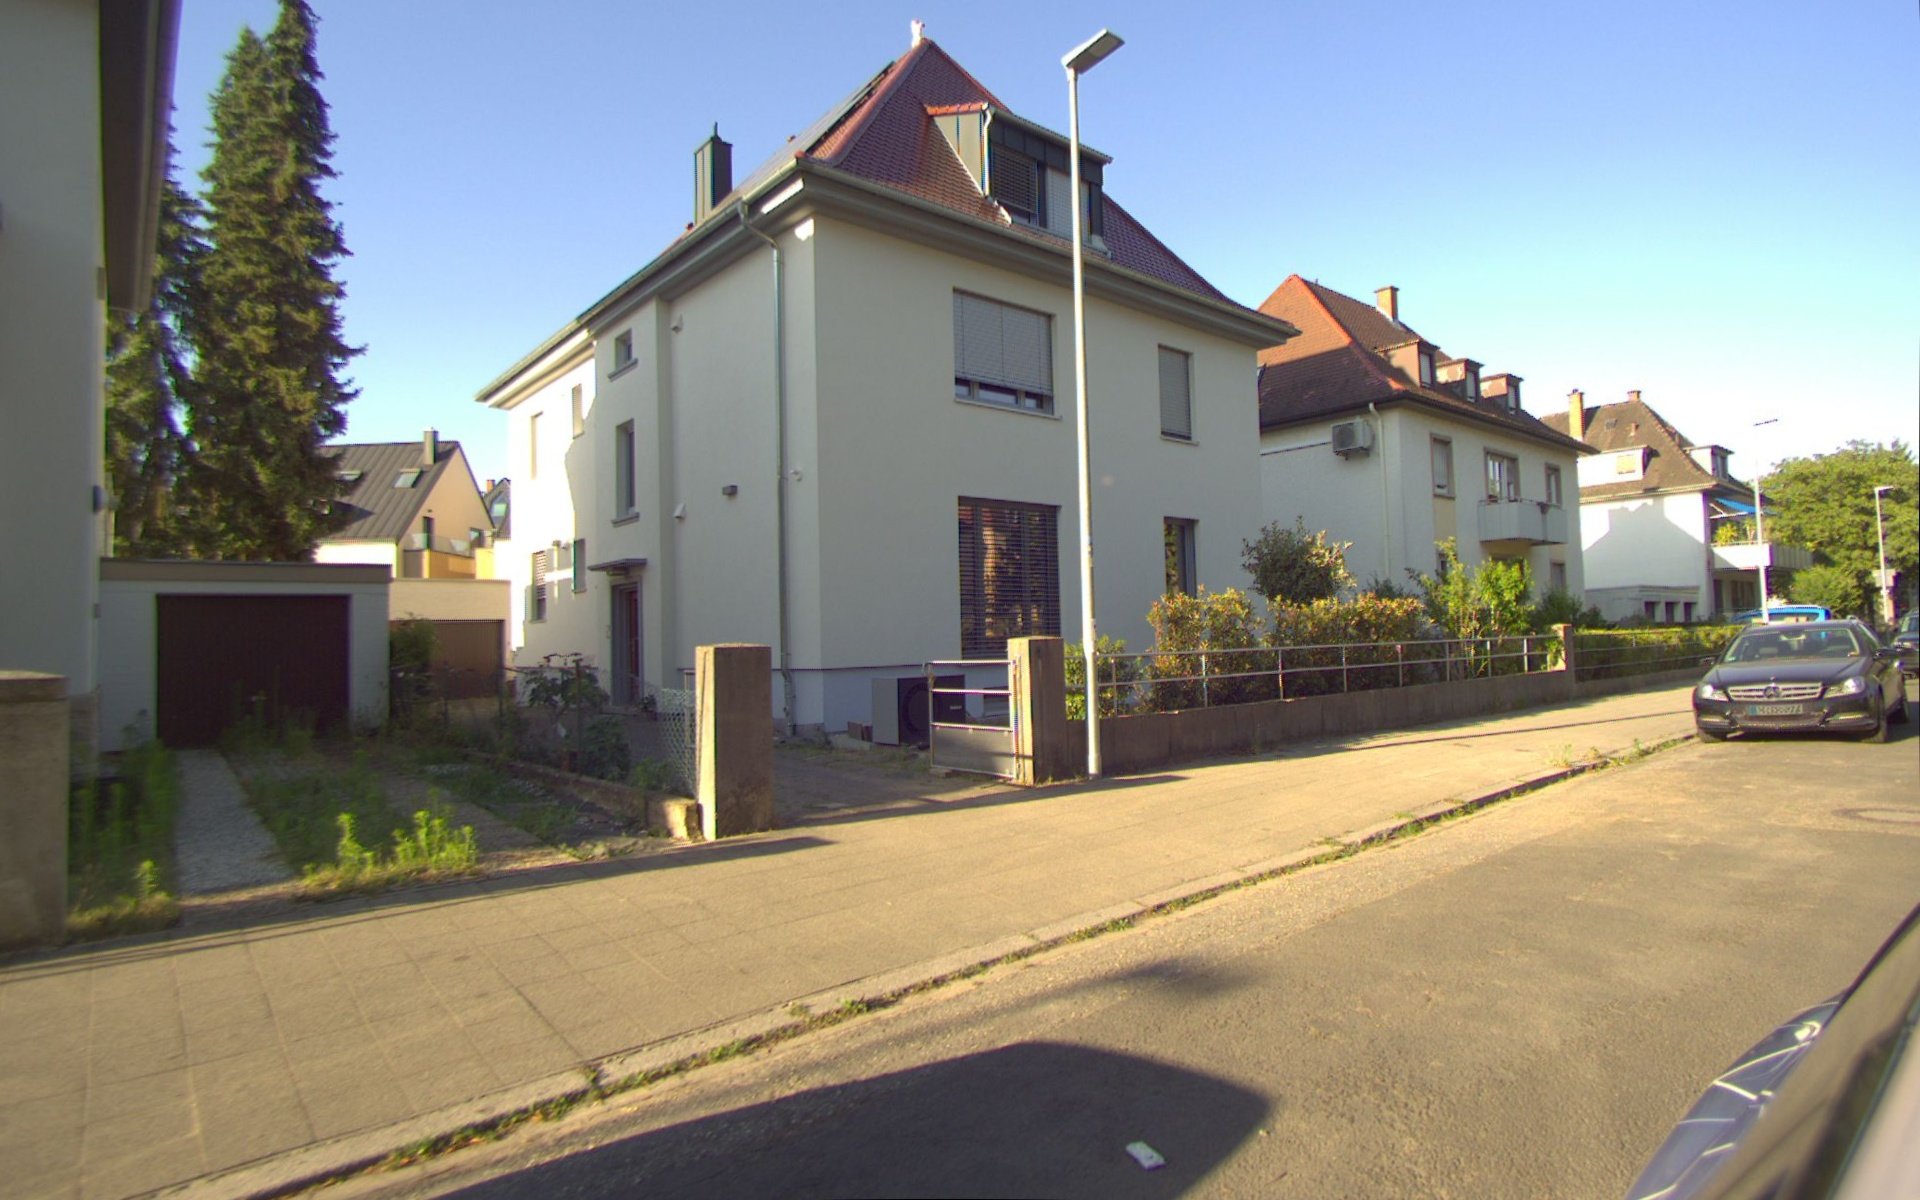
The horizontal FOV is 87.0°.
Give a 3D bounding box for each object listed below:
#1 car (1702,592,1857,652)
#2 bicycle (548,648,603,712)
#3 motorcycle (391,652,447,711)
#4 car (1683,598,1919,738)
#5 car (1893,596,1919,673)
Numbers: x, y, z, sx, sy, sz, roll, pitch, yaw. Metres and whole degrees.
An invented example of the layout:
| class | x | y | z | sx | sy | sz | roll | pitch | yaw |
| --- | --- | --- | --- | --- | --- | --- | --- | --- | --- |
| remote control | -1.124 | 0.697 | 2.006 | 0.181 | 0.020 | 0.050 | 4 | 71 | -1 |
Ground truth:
| class | x | y | z | sx | sy | sz | roll | pitch | yaw |
| --- | --- | --- | --- | --- | --- | --- | --- | --- | --- |
| car | 29.082 | 0.823 | 35.992 | 1.967 | 1.953 | 3.989 | 1 | -3 | -43 |
| bicycle | -7.349 | 1.513 | 19.304 | 0.399 | 1.157 | 1.722 | 1 | -3 | -42 |
| motorcycle | -12.762 | 1.903 | 23.843 | 0.730 | 1.310 | 1.871 | 0 | -4 | -42 |
| car | 11.065 | 0.823 | 13.102 | 4.322 | 1.519 | 1.781 | 0 | -6 | -42 |
| car | 24.200 | 0.701 | 24.448 | 4.391 | 1.743 | 1.859 | 0 | -8 | -42 |
